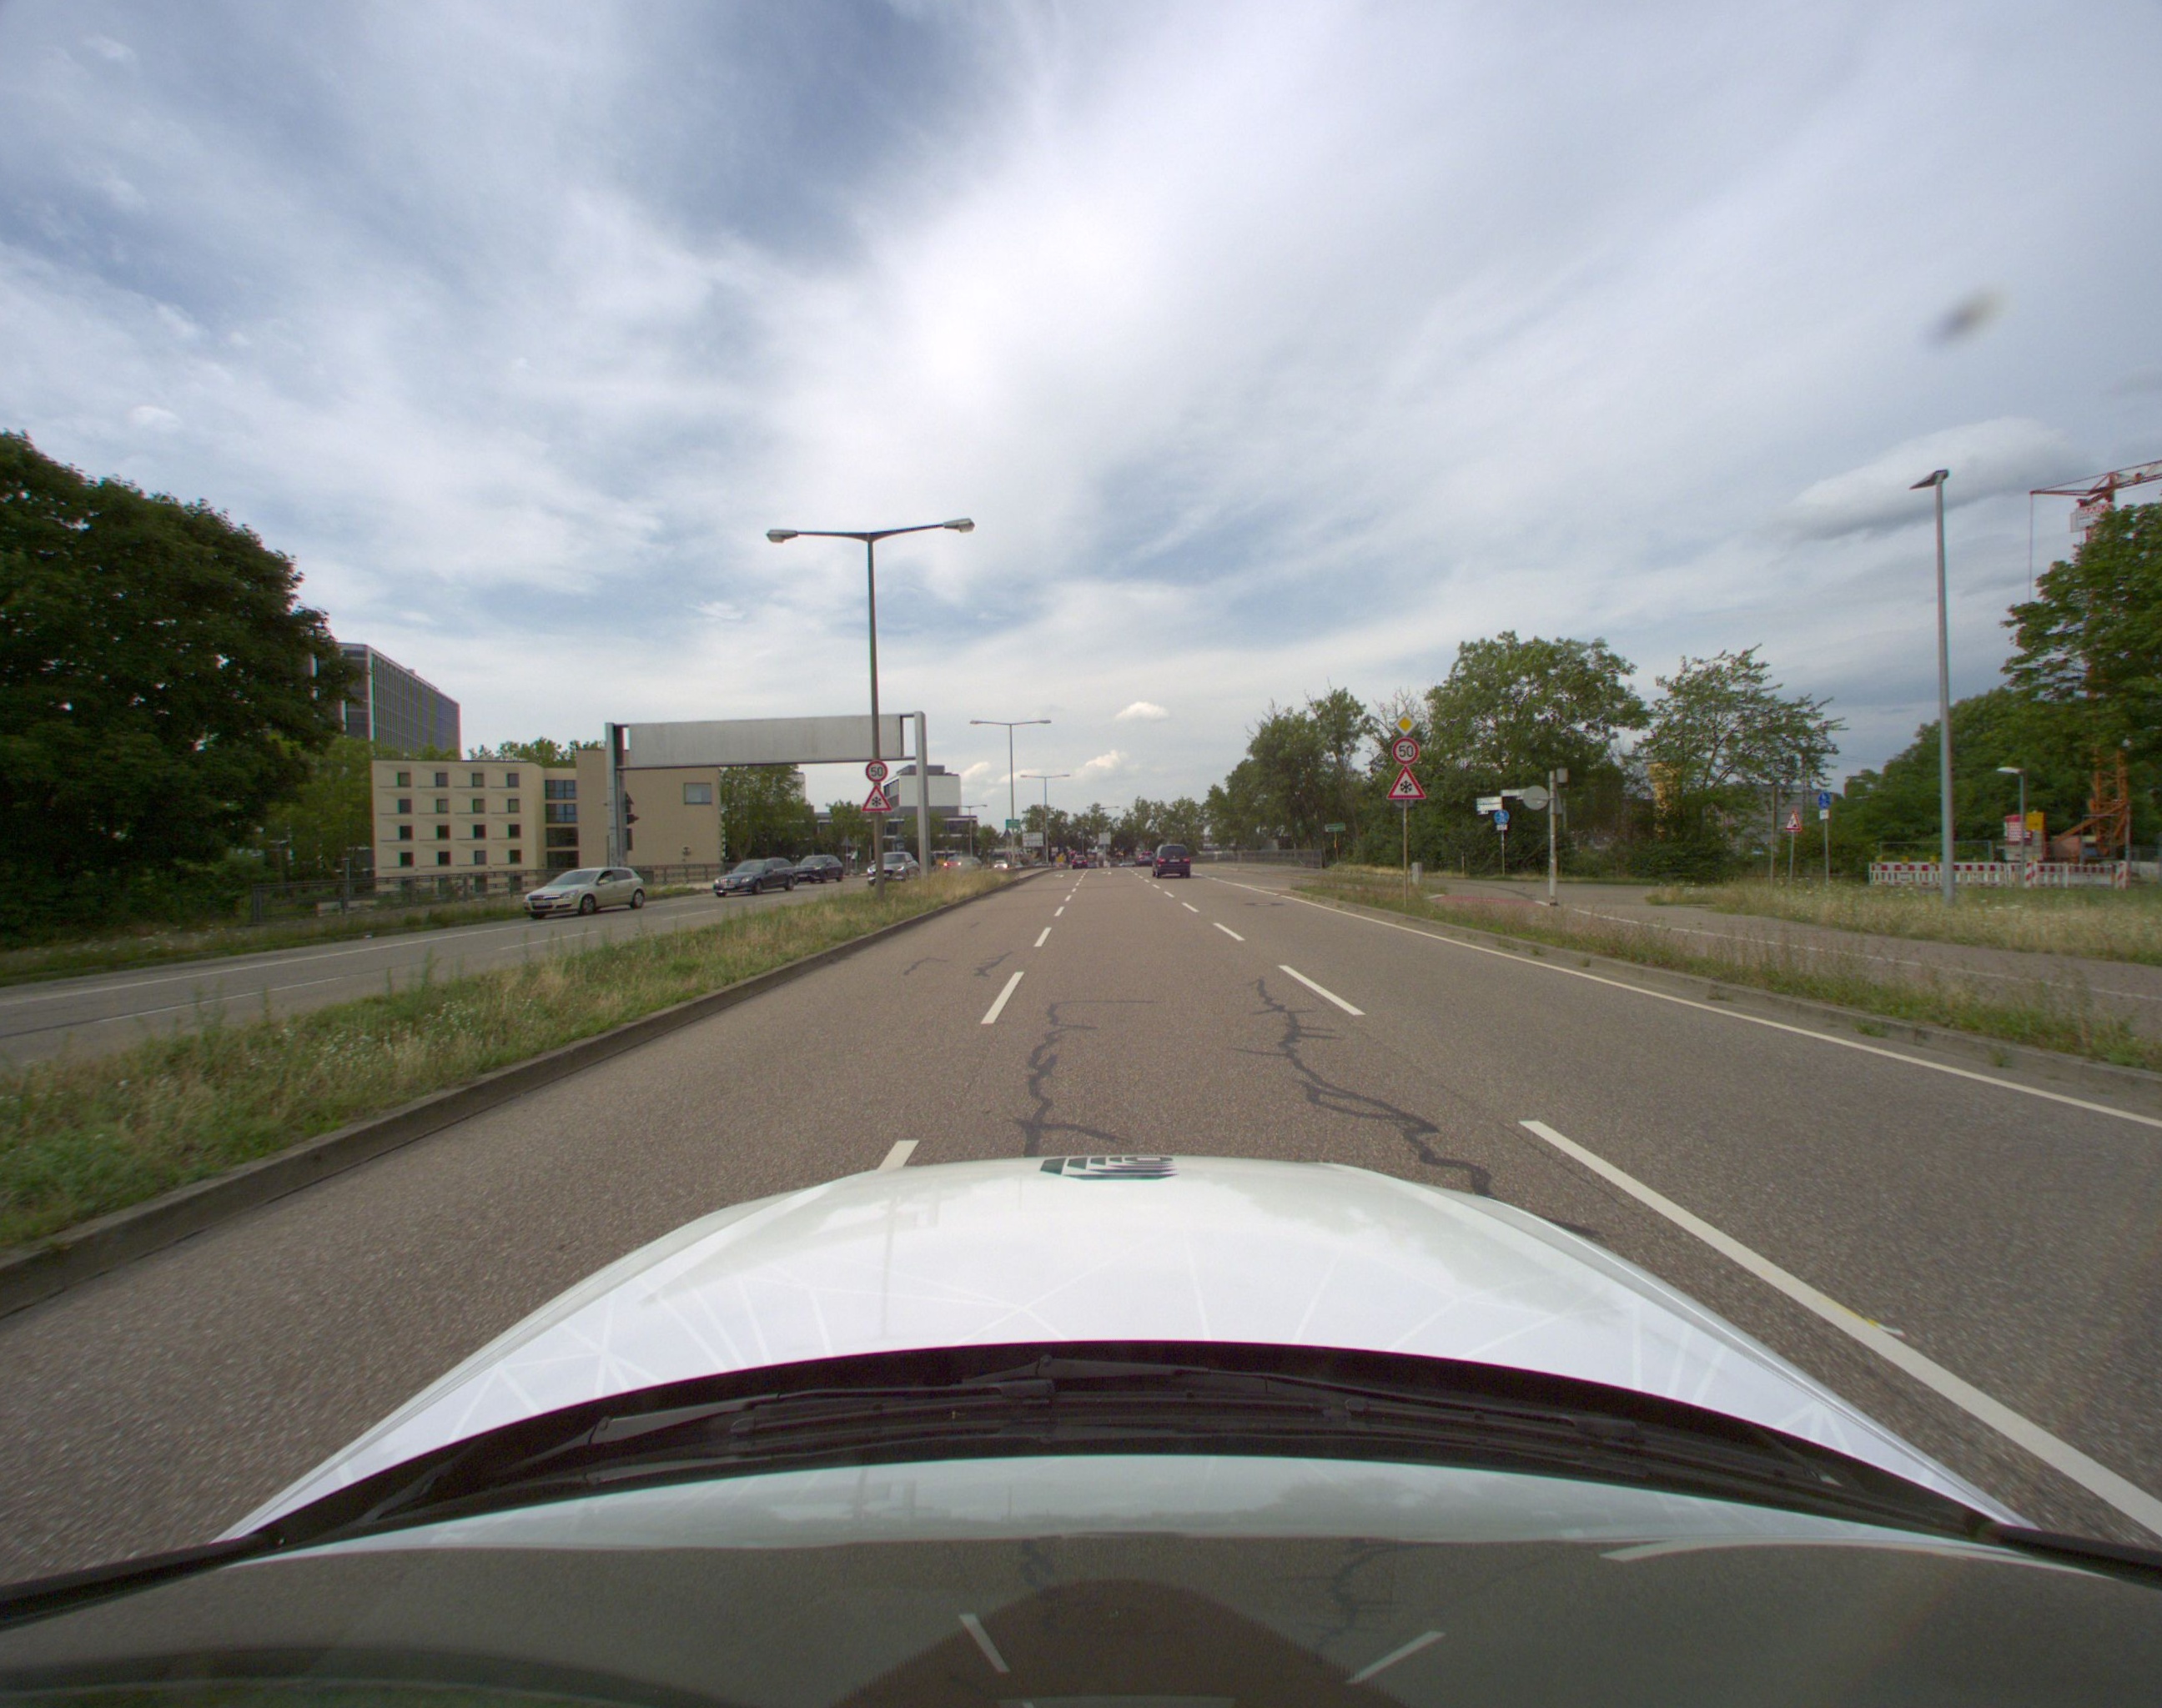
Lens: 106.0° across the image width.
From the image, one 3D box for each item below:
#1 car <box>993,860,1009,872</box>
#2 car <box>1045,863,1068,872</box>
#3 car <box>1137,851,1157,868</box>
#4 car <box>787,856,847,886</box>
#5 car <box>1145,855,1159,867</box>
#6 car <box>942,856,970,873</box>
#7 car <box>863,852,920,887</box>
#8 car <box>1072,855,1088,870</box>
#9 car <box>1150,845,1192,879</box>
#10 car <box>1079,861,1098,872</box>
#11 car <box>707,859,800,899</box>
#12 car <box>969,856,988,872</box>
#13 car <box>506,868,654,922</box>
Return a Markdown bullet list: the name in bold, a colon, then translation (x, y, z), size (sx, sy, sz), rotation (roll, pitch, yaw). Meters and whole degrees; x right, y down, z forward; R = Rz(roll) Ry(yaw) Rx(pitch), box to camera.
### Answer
- **car**: translation (-10.556, 1.604, 107.260), size (1.731, 1.482, 4.081), rotation (-4, -1, -1)
- **car**: translation (-3.924, 2.161, 129.616), size (3.587, 1.418, 1.746), rotation (-1, 0, 45)
- **car**: translation (6.958, 0.571, 86.024), size (1.725, 1.653, 4.114), rotation (-1, 0, 0)
- **car**: translation (-15.078, 0.930, 46.707), size (1.786, 1.525, 4.594), rotation (-4, -1, 1)
- **car**: translation (8.932, 0.840, 102.421), size (1.502, 1.447, 3.139), rotation (-1, 1, 0)
- **car**: translation (-11.257, 0.960, 73.696), size (1.787, 1.441, 3.798), rotation (-4, -1, 1)
- **car**: translation (-8.631, 0.675, 37.342), size (1.689, 1.486, 3.859), rotation (-2, 0, -1)
- **car**: translation (-0.111, 0.980, 94.858), size (1.725, 1.653, 4.114), rotation (-1, 0, 0)
- **car**: translation (4.707, 0.386, 42.958), size (1.725, 1.653, 4.114), rotation (-1, 0, 0)
- **car**: translation (1.136, 1.902, 126.865), size (1.735, 1.526, 4.090), rotation (-1, 0, -18)
- **car**: translation (-13.611, 1.000, 34.174), size (1.658, 1.425, 4.525), rotation (-4, -1, 5)
- **car**: translation (-14.199, 1.348, 113.070), size (1.986, 2.013, 4.002), rotation (-1, 1, 2)
- **car**: translation (-15.578, 1.220, 25.645), size (1.658, 1.419, 4.319), rotation (-4, -1, 4)
